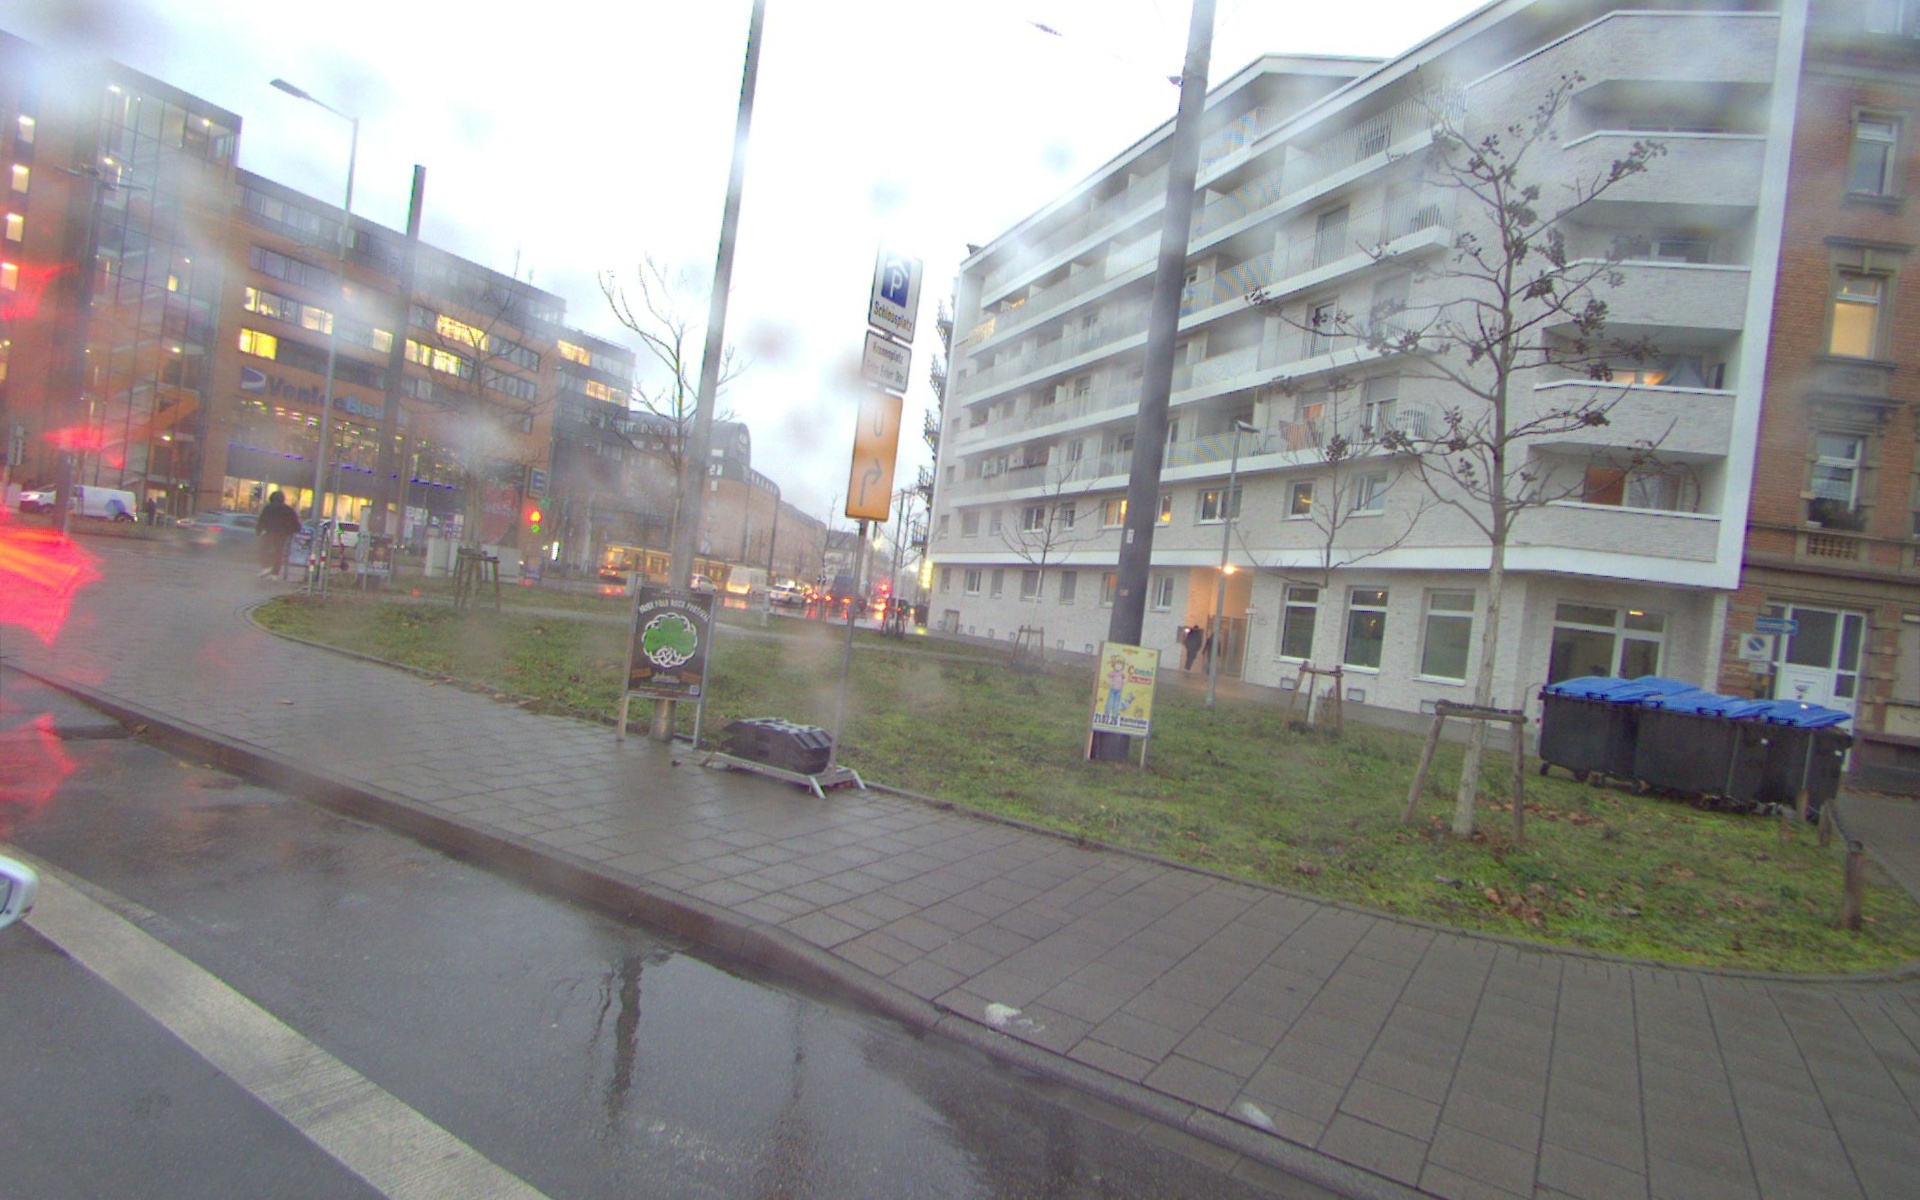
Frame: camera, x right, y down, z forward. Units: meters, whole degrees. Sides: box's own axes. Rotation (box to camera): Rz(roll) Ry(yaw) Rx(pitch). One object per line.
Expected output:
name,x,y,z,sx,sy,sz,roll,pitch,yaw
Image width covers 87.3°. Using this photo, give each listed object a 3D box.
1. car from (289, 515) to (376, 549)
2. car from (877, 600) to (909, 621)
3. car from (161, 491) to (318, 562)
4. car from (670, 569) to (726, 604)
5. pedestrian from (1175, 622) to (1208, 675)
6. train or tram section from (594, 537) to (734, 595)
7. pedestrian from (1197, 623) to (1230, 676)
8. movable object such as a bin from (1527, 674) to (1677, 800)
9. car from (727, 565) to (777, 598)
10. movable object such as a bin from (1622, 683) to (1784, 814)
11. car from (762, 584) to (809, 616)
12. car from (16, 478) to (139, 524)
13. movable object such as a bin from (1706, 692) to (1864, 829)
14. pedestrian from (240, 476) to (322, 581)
car,-41.004,-4.404,65.849,1.767,1.553,4.444,7,-1,25
car,-6.983,1.139,105.297,1.962,1.600,4.094,8,-3,16
car,-25.478,-2.563,35.738,1.963,1.898,3.998,8,1,21
car,-19.916,-0.986,76.592,1.963,2.036,4.003,8,-2,22
pedestrian,8.068,1.691,35.111,0.670,1.733,0.601,9,-1,-29
train or tram section,-24.335,-2.639,84.467,2.293,3.300,16.666,7,-1,17
pedestrian,8.937,1.744,35.424,0.670,1.733,0.625,9,-1,-29
movable object such as a bin,9.040,1.908,14.213,1.017,1.513,1.322,7,-1,-21
car,-17.393,-1.480,84.220,1.962,2.036,4.957,8,-2,13
movable object such as a bin,9.579,1.896,13.010,1.003,1.434,1.218,6,1,-21
car,-14.527,0.041,84.219,1.962,2.036,4.376,8,-2,16
car,-46.088,-5.137,52.641,1.767,1.614,4.431,7,-1,25
movable object such as a bin,10.682,2.059,13.061,1.021,1.507,1.039,9,-2,-12
pedestrian,-14.129,-1.464,20.945,1.164,1.946,0.890,10,-2,-35
